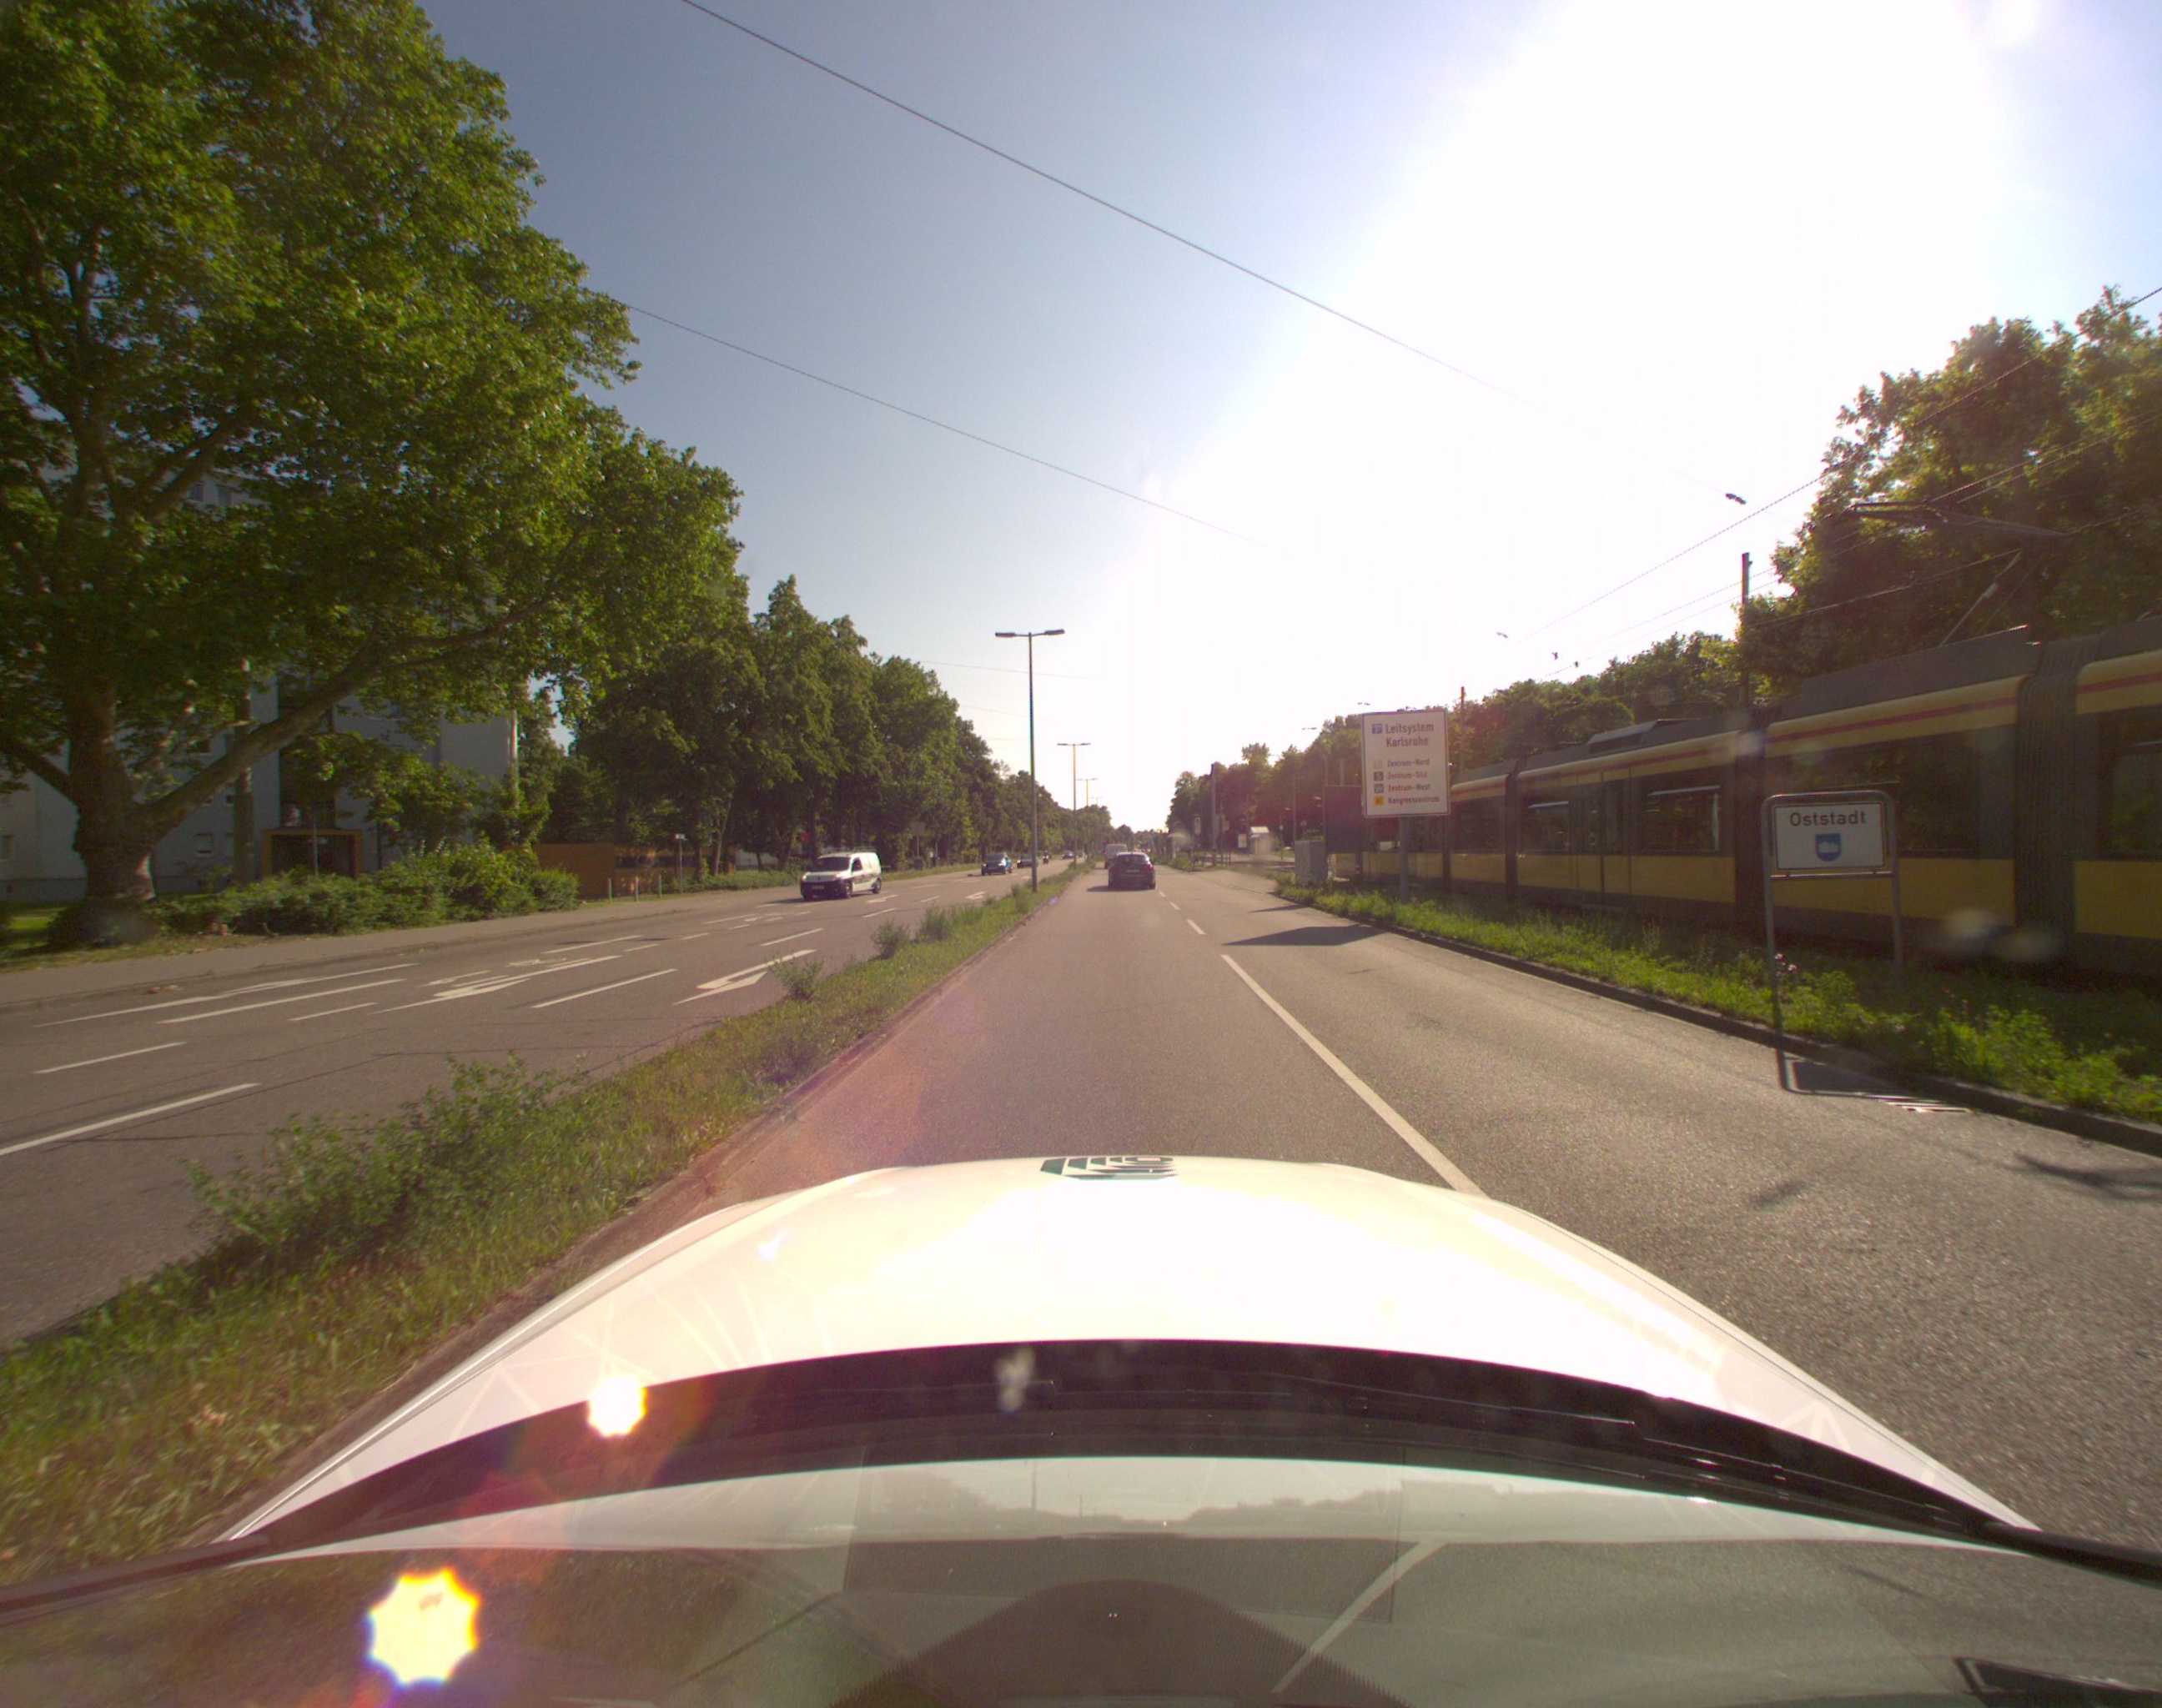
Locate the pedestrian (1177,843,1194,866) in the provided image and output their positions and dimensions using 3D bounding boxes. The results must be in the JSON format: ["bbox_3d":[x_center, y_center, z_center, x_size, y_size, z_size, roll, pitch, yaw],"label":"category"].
[{"bbox_3d":[7.594,0.048,59.319,0.988,1.634,0.726,-1,0,30],"label":"pedestrian"}]

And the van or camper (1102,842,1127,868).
[{"bbox_3d":[2.847,0.055,68.985,1.986,2.096,4.601,-1,0,2],"label":"van or camper"}]

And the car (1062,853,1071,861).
[{"bbox_3d":[-2.858,0.564,156.903,1.528,1.486,4.002,-1,0,2],"label":"car"}]

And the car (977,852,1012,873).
[{"bbox_3d":[-6.321,0.588,60.094,1.781,1.415,4.391,-1,0,4],"label":"car"}]

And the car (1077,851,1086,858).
[{"bbox_3d":[0.081,0.009,190.252,1.843,1.552,4.002,-1,0,2],"label":"car"}]

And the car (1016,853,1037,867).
[{"bbox_3d":[-5.446,0.602,82.193,1.783,1.328,4.736,-1,0,0],"label":"car"}]

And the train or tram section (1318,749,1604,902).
[{"bbox_3d":[10.882,-0.616,26.158,2.674,3.481,14.976,-1,0,2],"label":"train or tram section"}]

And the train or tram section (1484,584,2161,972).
[{"bbox_3d":[10.436,-0.687,13.091,2.739,3.554,11.263,-1,0,2],"label":"train or tram section"}]

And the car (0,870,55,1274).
[{"bbox_3d":[-5.010,0.864,0.838,1.841,1.477,4.649,-3,0,2],"label":"car"}]

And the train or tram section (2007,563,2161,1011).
[{"bbox_3d":[9.822,-0.574,1.171,2.784,3.618,12.966,-1,0,3],"label":"train or tram section"}]

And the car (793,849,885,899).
[{"bbox_3d":[-9.451,0.738,32.225,1.779,1.772,4.578,-2,0,6],"label":"car"}]

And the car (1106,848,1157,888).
[{"bbox_3d":[2.072,0.524,33.138,1.895,1.505,4.069,-1,0,4],"label":"car"}]

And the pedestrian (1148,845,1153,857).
[{"bbox_3d":[11.520,-0.486,134.838,0.696,2.013,0.703,-1,0,1],"label":"pedestrian"}]

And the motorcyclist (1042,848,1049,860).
[{"bbox_3d":[-4.444,-0.001,102.554,0.760,1.552,0.800,-1,0,1],"label":"motorcyclist"}]
